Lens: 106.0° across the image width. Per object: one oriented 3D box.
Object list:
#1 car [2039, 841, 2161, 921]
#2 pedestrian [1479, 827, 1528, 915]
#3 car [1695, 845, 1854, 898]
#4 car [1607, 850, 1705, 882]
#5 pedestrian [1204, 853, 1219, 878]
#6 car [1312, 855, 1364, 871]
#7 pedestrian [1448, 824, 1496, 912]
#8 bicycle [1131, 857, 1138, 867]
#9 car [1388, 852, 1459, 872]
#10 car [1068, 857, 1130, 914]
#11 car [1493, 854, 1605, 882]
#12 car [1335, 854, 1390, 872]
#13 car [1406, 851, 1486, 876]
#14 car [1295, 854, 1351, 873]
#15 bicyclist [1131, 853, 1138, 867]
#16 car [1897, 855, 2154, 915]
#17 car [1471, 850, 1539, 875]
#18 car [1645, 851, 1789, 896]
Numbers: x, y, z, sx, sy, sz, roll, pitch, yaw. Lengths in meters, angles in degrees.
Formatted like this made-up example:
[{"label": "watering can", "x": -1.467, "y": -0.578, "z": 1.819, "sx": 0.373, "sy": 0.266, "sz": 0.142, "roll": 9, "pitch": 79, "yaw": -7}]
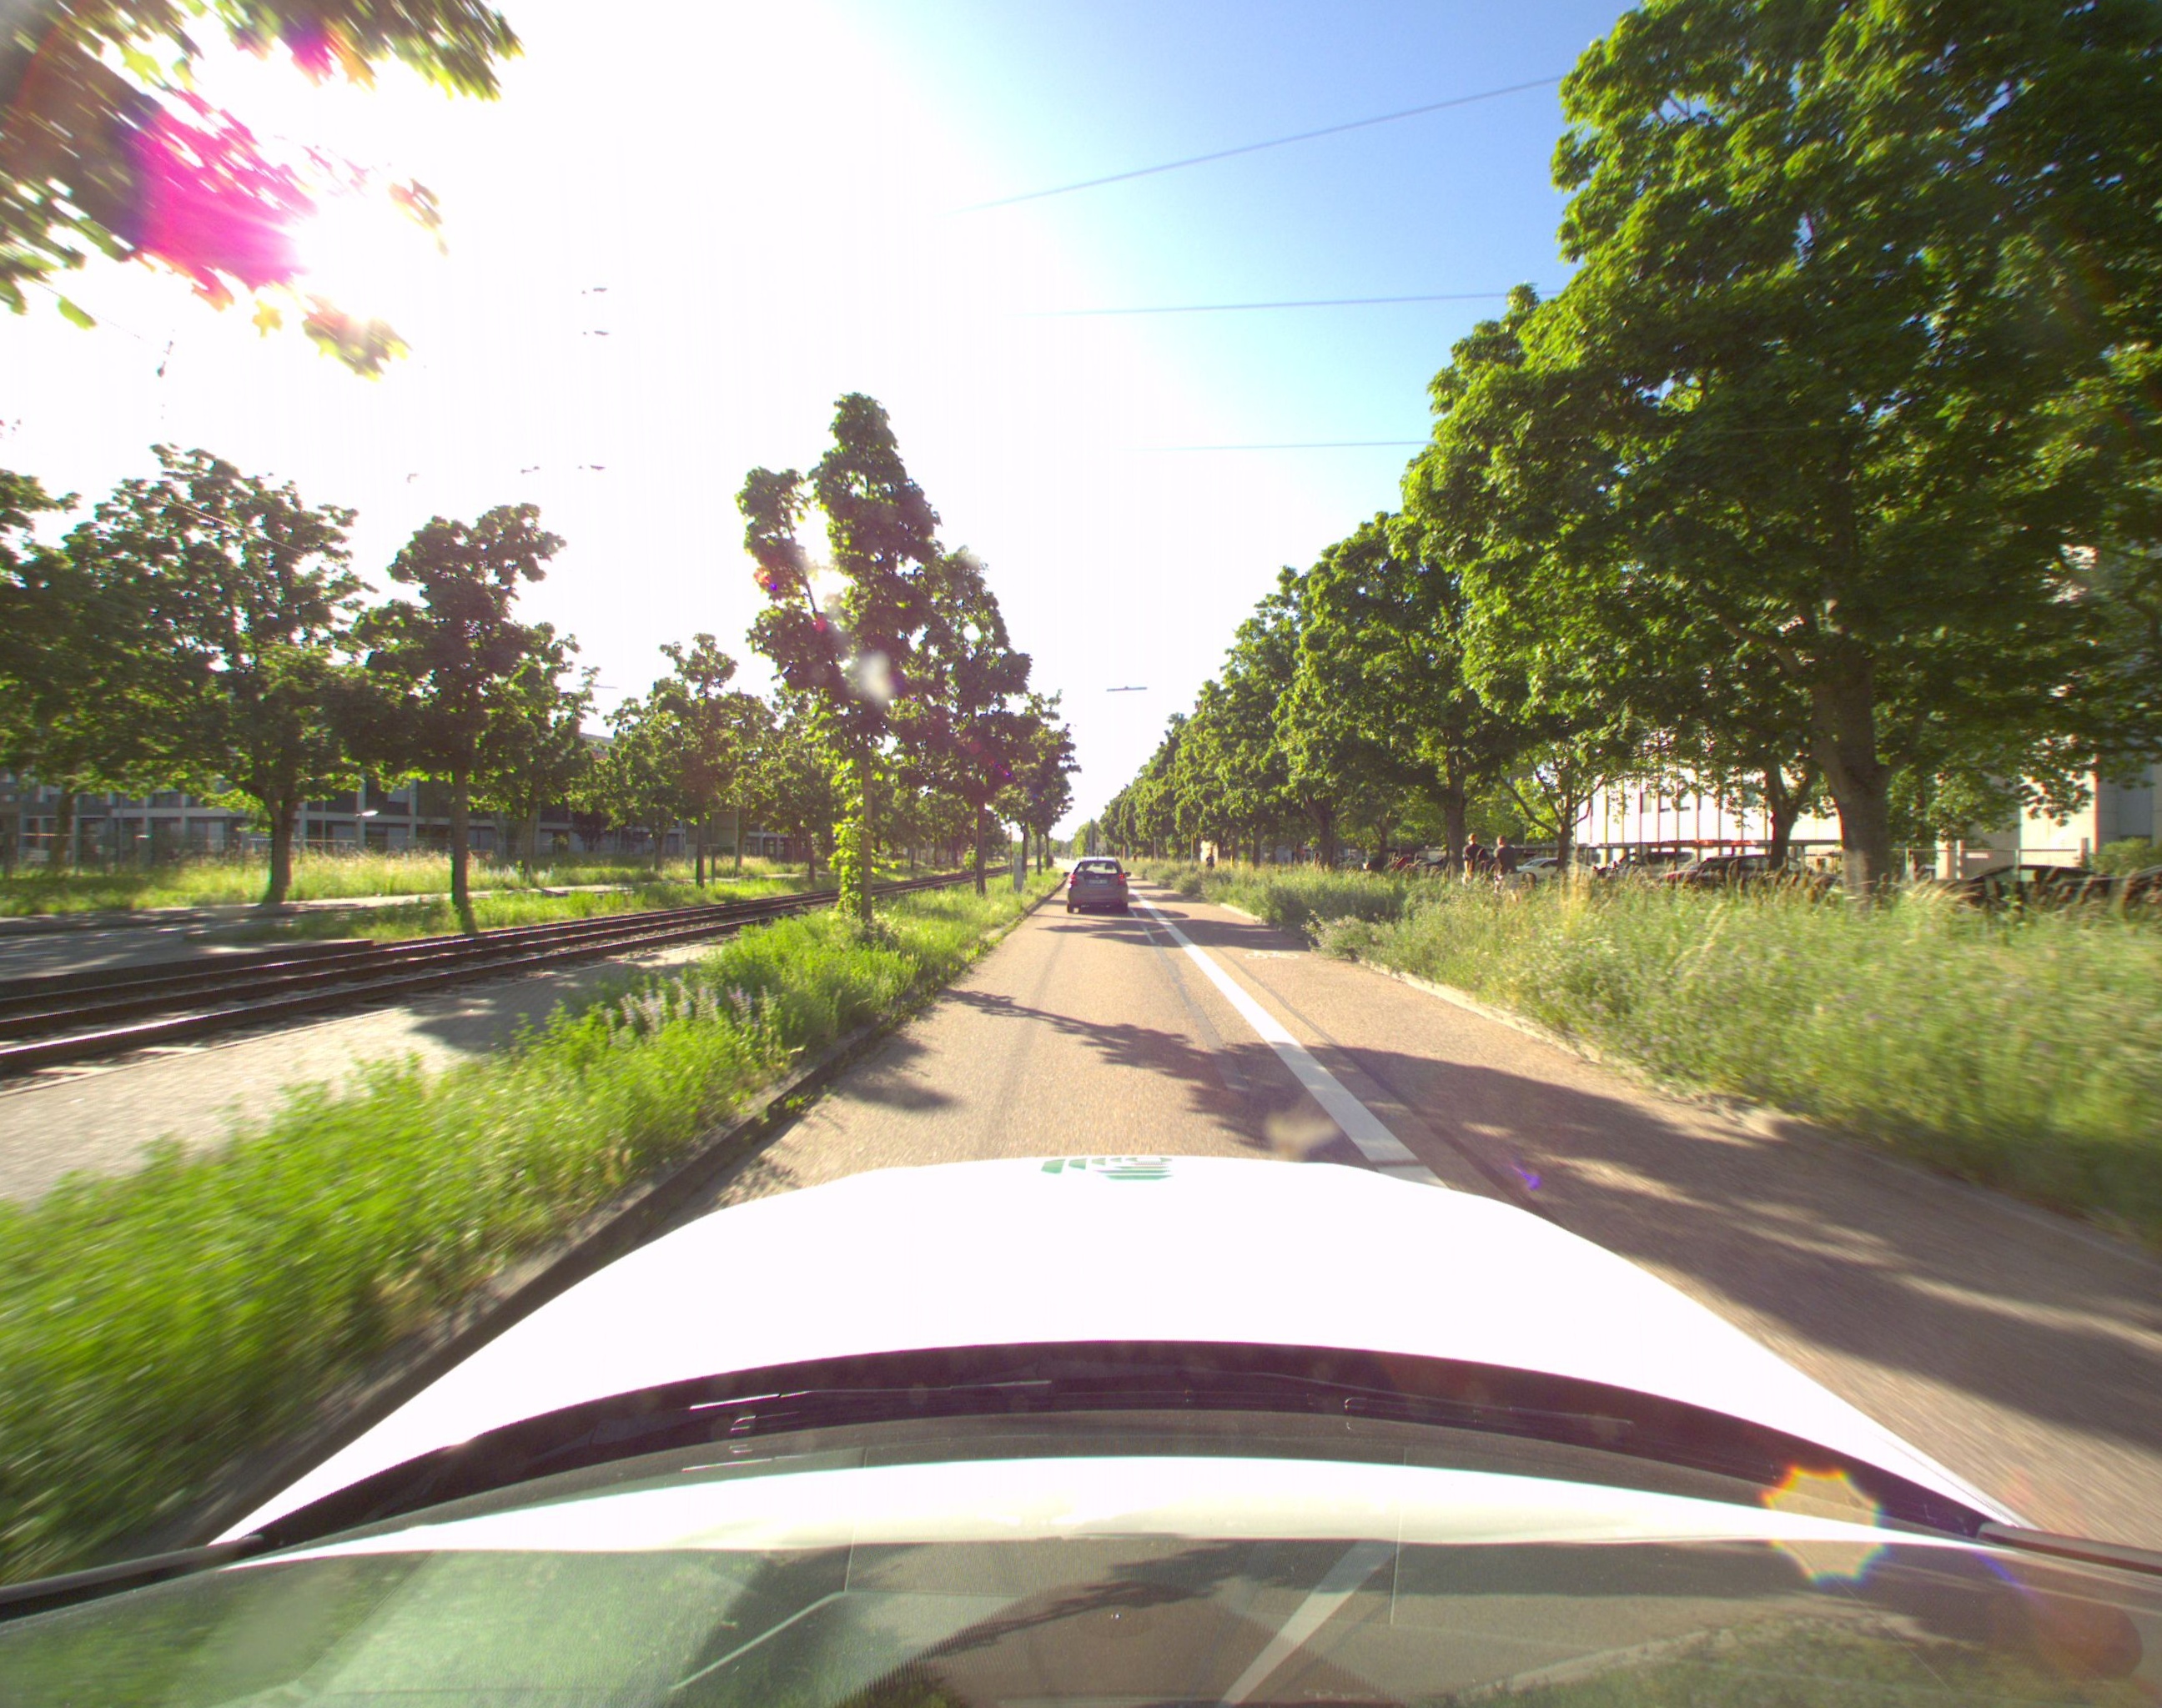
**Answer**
[{"label": "car", "x": 23.198, "y": 0.567, "z": 16.938, "sx": 3.936, "sy": 1.639, "sz": 1.734, "roll": 0, "pitch": 0, "yaw": 35}, {"label": "pedestrian", "x": 9.520, "y": 0.373, "z": 18.370, "sx": 0.705, "sy": 1.930, "sz": 0.817, "roll": 1, "pitch": -1, "yaw": 2}, {"label": "car", "x": 23.509, "y": 0.565, "z": 27.667, "sx": 4.334, "sy": 1.700, "sz": 1.760, "roll": -1, "pitch": 0, "yaw": -9}, {"label": "car", "x": 35.489, "y": 0.720, "z": 50.362, "sx": 4.734, "sy": 1.950, "sz": 1.974, "roll": 0, "pitch": 0, "yaw": -1}, {"label": "pedestrian", "x": 8.428, "y": 0.741, "z": 52.691, "sx": 0.821, "sy": 1.569, "sz": 0.762, "roll": 1, "pitch": -1, "yaw": 1}, {"label": "car", "x": 23.859, "y": 0.844, "z": 75.592, "sx": 4.338, "sy": 1.459, "sz": 1.690, "roll": 0, "pitch": 0, "yaw": 3}, {"label": "pedestrian", "x": 8.812, "y": 0.312, "z": 18.358, "sx": 0.705, "sy": 1.918, "sz": 0.817, "roll": 1, "pitch": -1, "yaw": 2}, {"label": "bicycle", "x": 6.620, "y": 0.985, "z": 100.559, "sx": 0.482, "sy": 1.204, "sz": 2.138, "roll": 0, "pitch": -2, "yaw": -7}, {"label": "car", "x": 24.288, "y": 0.545, "z": 57.799, "sx": 4.272, "sy": 1.324, "sz": 1.943, "roll": -1, "pitch": 1, "yaw": 5}, {"label": "car", "x": 0.478, "y": 0.828, "z": 23.136, "sx": 1.619, "sy": 1.500, "sz": 3.456, "roll": 0, "pitch": 0, "yaw": 0}, {"label": "car", "x": 23.724, "y": 0.690, "z": 41.375, "sx": 4.686, "sy": 1.271, "sz": 1.806, "roll": -1, "pitch": 1, "yaw": -3}, {"label": "car", "x": 23.939, "y": 0.774, "z": 69.375, "sx": 4.147, "sy": 1.432, "sz": 1.826, "roll": 1, "pitch": 0, "yaw": 3}, {"label": "car", "x": 23.600, "y": 0.621, "z": 52.737, "sx": 4.382, "sy": 1.596, "sz": 1.882, "roll": 0, "pitch": 0, "yaw": -3}, {"label": "car", "x": 19.290, "y": 0.755, "z": 64.906, "sx": 3.985, "sy": 1.525, "sz": 1.704, "roll": 0, "pitch": 0, "yaw": -3}, {"label": "bicyclist", "x": 6.644, "y": 0.800, "z": 100.440, "sx": 0.682, "sy": 1.720, "sz": 0.900, "roll": 0, "pitch": -1, "yaw": -7}, {"label": "car", "x": 23.301, "y": 0.719, "z": 20.345, "sx": 3.936, "sy": 1.341, "sz": 1.719, "roll": 0, "pitch": 0, "yaw": 38}, {"label": "car", "x": 35.020, "y": 0.722, "z": 67.367, "sx": 4.568, "sy": 2.014, "sz": 1.958, "roll": 0, "pitch": 0, "yaw": 1}, {"label": "car", "x": 23.298, "y": 0.680, "z": 29.894, "sx": 4.229, "sy": 1.536, "sz": 1.760, "roll": -1, "pitch": 0, "yaw": -9}]
